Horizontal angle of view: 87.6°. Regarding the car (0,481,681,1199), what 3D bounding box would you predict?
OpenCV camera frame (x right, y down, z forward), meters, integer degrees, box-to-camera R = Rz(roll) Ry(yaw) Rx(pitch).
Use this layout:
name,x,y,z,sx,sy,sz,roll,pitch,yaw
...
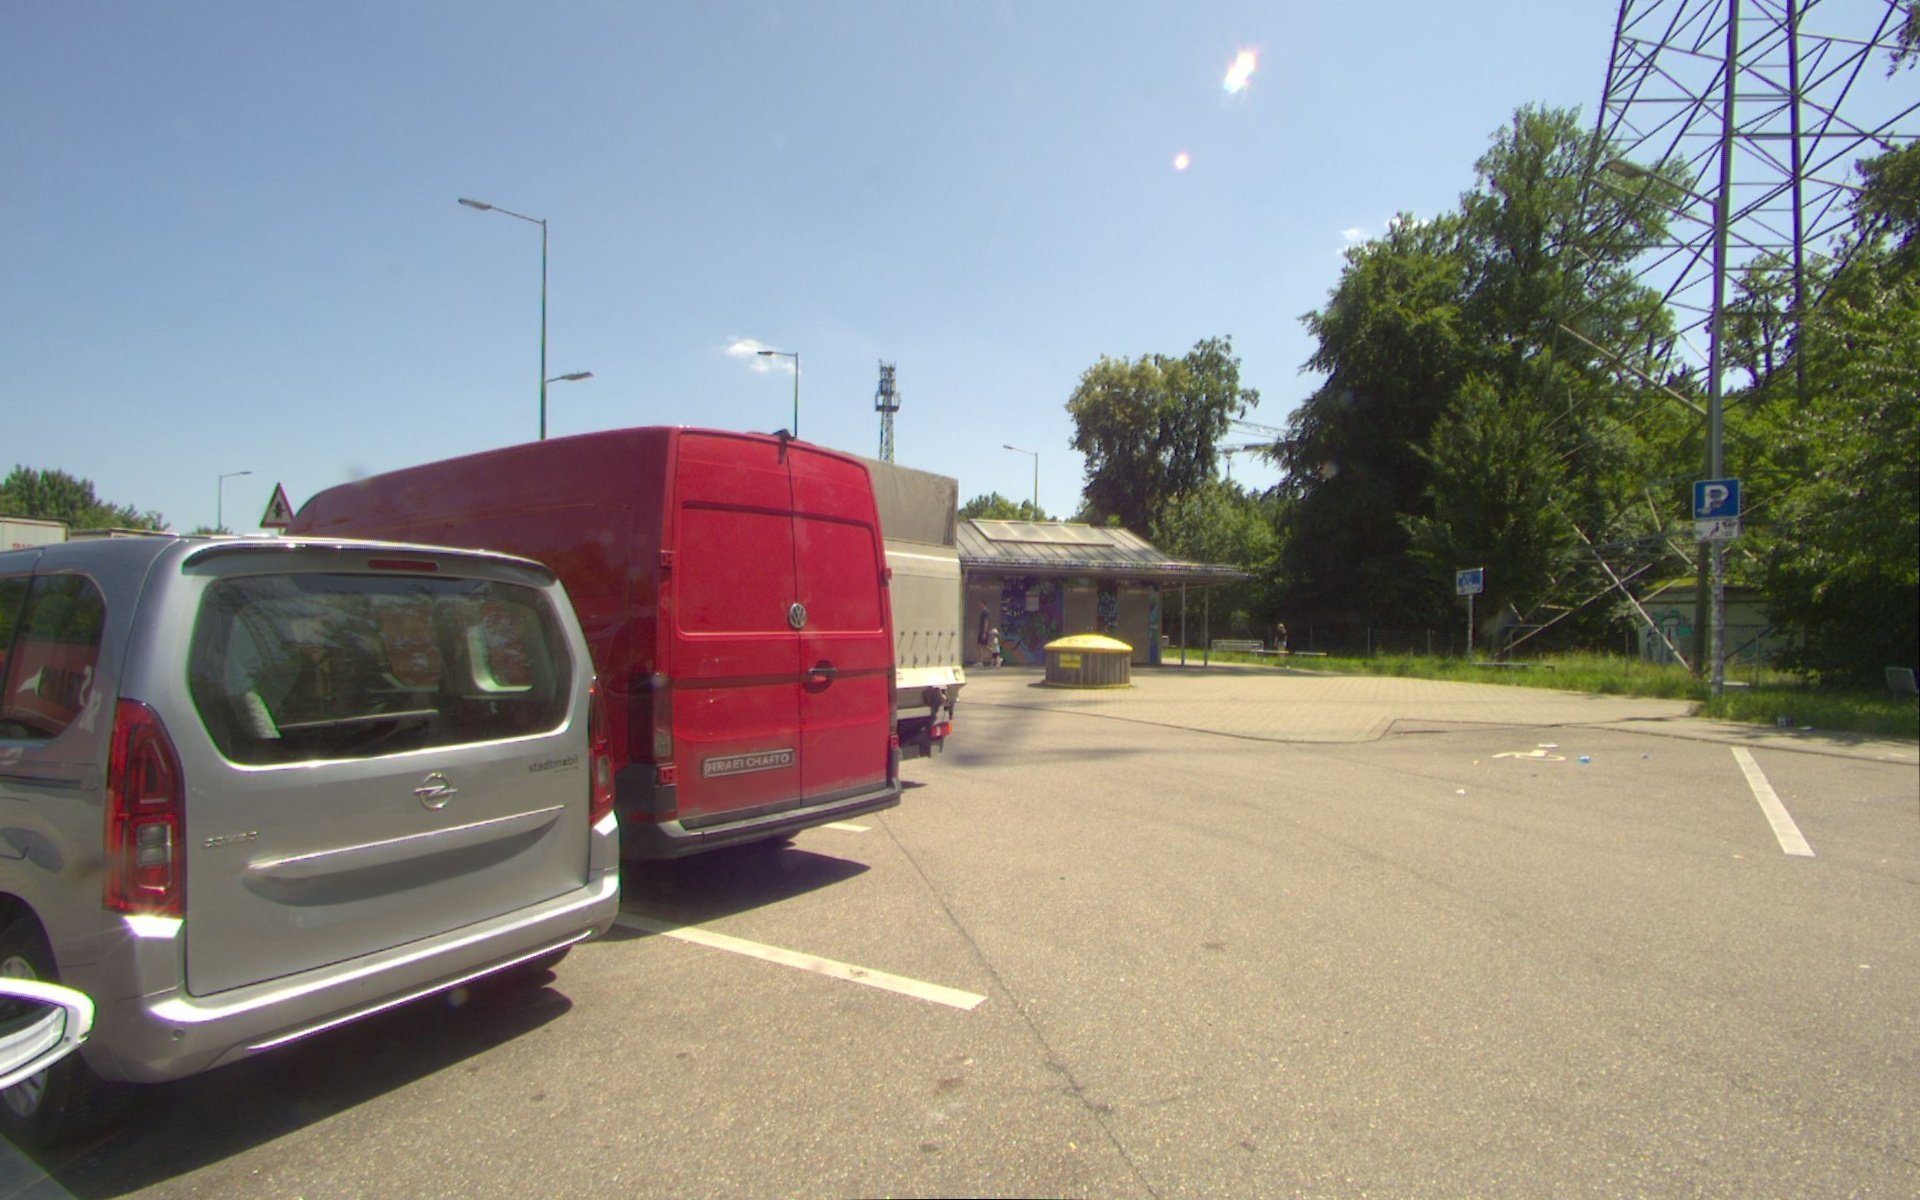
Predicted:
name,x,y,z,sx,sy,sz,roll,pitch,yaw
car,-3.387,0.685,4.263,4.113,1.887,1.868,1,-2,31

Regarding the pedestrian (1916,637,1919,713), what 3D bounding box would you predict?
name,x,y,z,sx,sy,sz,roll,pitch,yaw
pedestrian,17.251,1.322,17.493,0.690,1.352,0.561,-1,-1,33

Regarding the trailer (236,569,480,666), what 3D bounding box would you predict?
name,x,y,z,sx,sy,sz,roll,pitch,yaw
trailer,-26.107,0.636,42.916,14.184,3.552,2.808,2,-2,33

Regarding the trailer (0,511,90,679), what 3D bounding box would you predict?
name,x,y,z,sx,sy,sz,roll,pitch,yaw
trailer,-29.023,-0.268,28.155,14.184,4.040,2.808,2,-2,33

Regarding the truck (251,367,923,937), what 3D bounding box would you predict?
name,x,y,z,sx,sy,sz,roll,pitch,yaw
truck,-2.895,0.335,7.063,5.238,2.655,1.972,-2,-2,38

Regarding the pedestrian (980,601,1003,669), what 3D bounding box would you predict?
name,x,y,z,sx,sy,sz,roll,pitch,yaw
pedestrian,0.836,0.936,26.676,0.523,1.796,0.437,0,-1,-10

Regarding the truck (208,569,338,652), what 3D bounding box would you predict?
name,x,y,z,sx,sy,sz,roll,pitch,yaw
truck,-32.101,0.455,46.773,5.813,3.566,2.799,2,-2,33

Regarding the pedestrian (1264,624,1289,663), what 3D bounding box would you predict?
name,x,y,z,sx,sy,sz,roll,pitch,yaw
pedestrian,13.912,1.907,43.969,0.783,1.658,0.731,1,-2,-39

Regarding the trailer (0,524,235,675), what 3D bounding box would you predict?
name,x,y,z,sx,sy,sz,roll,pitch,yaw
trailer,-27.960,-0.111,31.801,14.184,4.040,2.808,2,-2,33

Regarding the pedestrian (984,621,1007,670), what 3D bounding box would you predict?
name,x,y,z,sx,sy,sz,roll,pitch,yaw
pedestrian,0.915,1.188,26.158,0.523,1.254,0.437,0,-1,-10

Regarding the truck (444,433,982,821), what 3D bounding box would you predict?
name,x,y,z,sx,sy,sz,roll,pitch,yaw
truck,-2.744,0.303,10.302,5.581,2.949,2.449,-2,-2,37
